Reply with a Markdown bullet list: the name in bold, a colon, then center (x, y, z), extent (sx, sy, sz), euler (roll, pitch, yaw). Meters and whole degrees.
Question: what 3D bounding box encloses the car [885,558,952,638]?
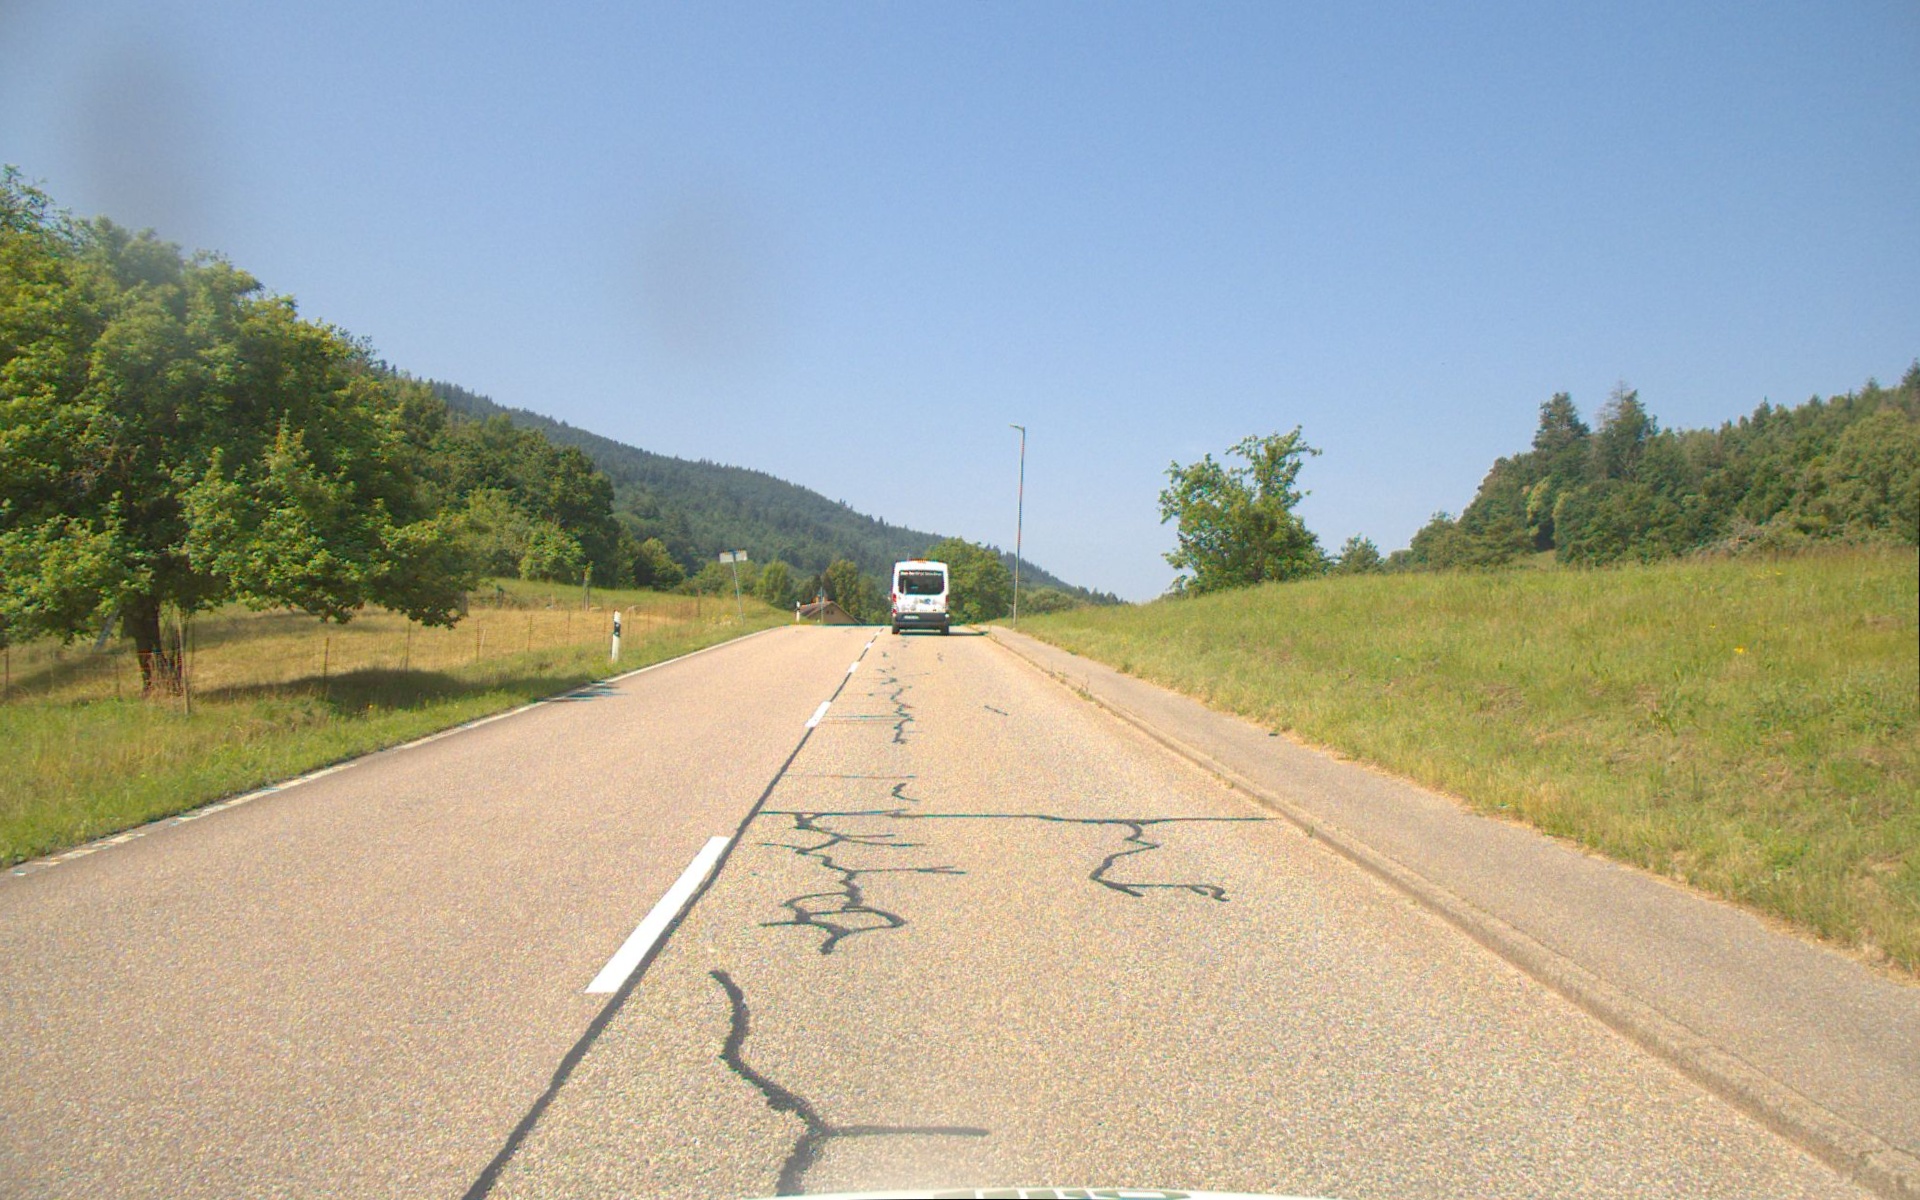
- **car**: center (-1.485, -0.004, 58.070), extent (2.178, 2.570, 4.982), euler (-2, -2, -2)
